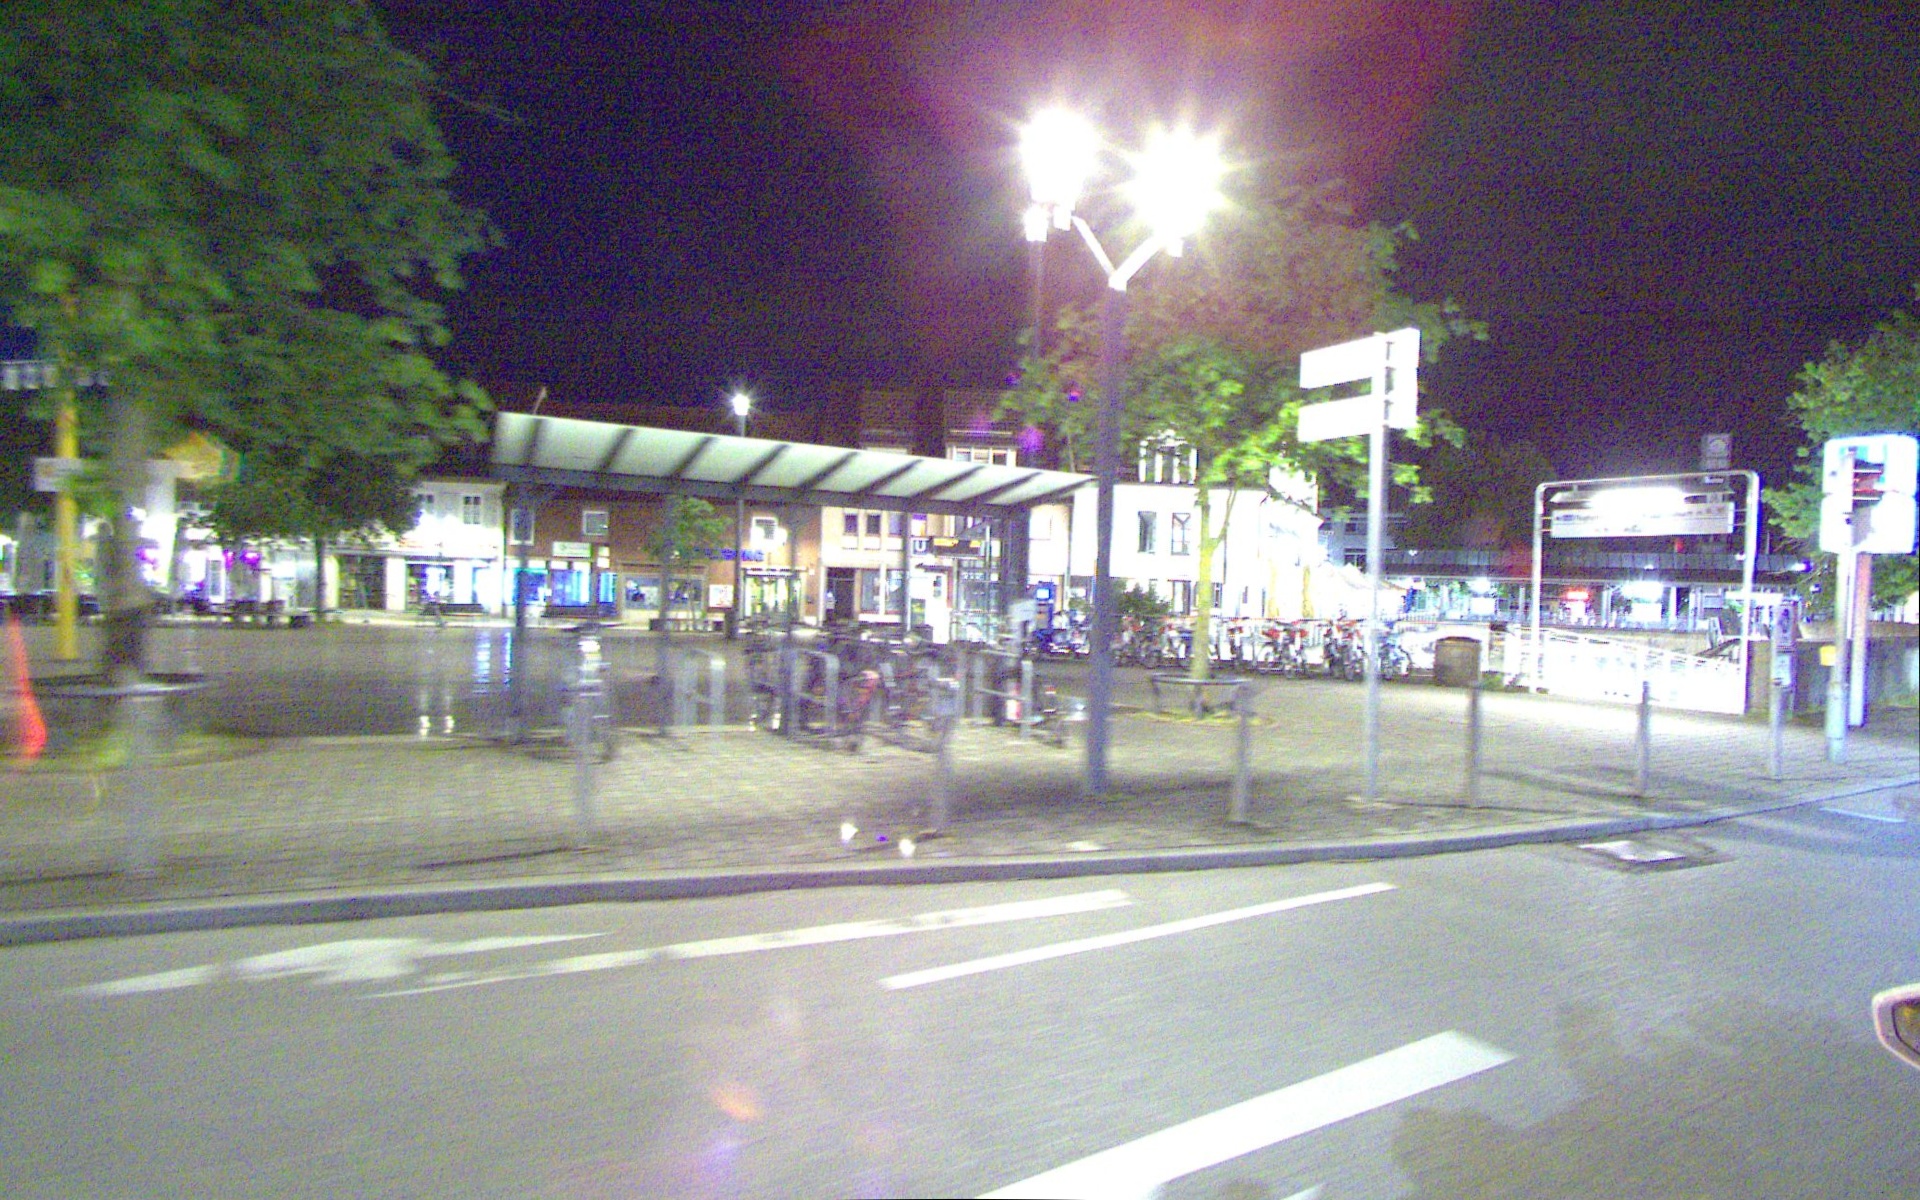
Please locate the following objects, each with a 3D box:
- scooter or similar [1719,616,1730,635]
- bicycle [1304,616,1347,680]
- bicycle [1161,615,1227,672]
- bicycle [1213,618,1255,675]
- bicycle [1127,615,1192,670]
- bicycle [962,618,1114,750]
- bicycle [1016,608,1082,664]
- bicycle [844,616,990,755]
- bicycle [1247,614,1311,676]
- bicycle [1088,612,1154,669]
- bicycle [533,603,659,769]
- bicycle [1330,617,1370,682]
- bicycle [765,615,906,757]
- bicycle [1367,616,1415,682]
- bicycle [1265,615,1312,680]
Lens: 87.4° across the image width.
[{"bbox_3d":[56.067,1.872,73.683,0.423,1.302,1.146,0,0,25],"label":"scooter or similar"},{"bbox_3d":[7.240,0.918,19.858,0.598,1.181,1.745,0,0,27],"label":"bicycle"},{"bbox_3d":[4.957,0.894,21.228,0.600,1.140,1.737,0,1,42],"label":"bicycle"},{"bbox_3d":[5.684,0.942,20.805,0.597,1.084,1.746,0,0,24],"label":"bicycle"},{"bbox_3d":[4.368,0.901,21.890,0.600,1.115,1.737,0,1,42],"label":"bicycle"},{"bbox_3d":[0.723,0.776,9.844,0.662,1.120,1.608,2,0,-30],"label":"bicycle"},{"bbox_3d":[2.060,0.804,23.102,0.600,1.235,1.737,0,1,42],"label":"bicycle"},{"bbox_3d":[-0.441,0.740,9.329,0.662,1.120,1.608,2,1,-30],"label":"bicycle"},{"bbox_3d":[6.584,0.904,20.701,0.600,1.181,1.737,0,1,42],"label":"bicycle"},{"bbox_3d":[3.542,0.860,22.016,0.600,1.181,1.737,0,1,42],"label":"bicycle"},{"bbox_3d":[-3.018,0.631,8.229,0.662,1.179,1.760,1,0,-30],"label":"bicycle"},{"bbox_3d":[7.568,0.925,19.448,0.535,1.170,1.745,0,0,27],"label":"bicycle"},{"bbox_3d":[-1.163,0.724,9.095,0.662,1.120,1.608,2,0,-30],"label":"bicycle"},{"bbox_3d":[8.420,0.921,19.588,0.747,1.177,1.745,0,0,27],"label":"bicycle"},{"bbox_3d":[6.420,0.901,19.585,0.598,1.181,1.745,0,0,27],"label":"bicycle"}]
